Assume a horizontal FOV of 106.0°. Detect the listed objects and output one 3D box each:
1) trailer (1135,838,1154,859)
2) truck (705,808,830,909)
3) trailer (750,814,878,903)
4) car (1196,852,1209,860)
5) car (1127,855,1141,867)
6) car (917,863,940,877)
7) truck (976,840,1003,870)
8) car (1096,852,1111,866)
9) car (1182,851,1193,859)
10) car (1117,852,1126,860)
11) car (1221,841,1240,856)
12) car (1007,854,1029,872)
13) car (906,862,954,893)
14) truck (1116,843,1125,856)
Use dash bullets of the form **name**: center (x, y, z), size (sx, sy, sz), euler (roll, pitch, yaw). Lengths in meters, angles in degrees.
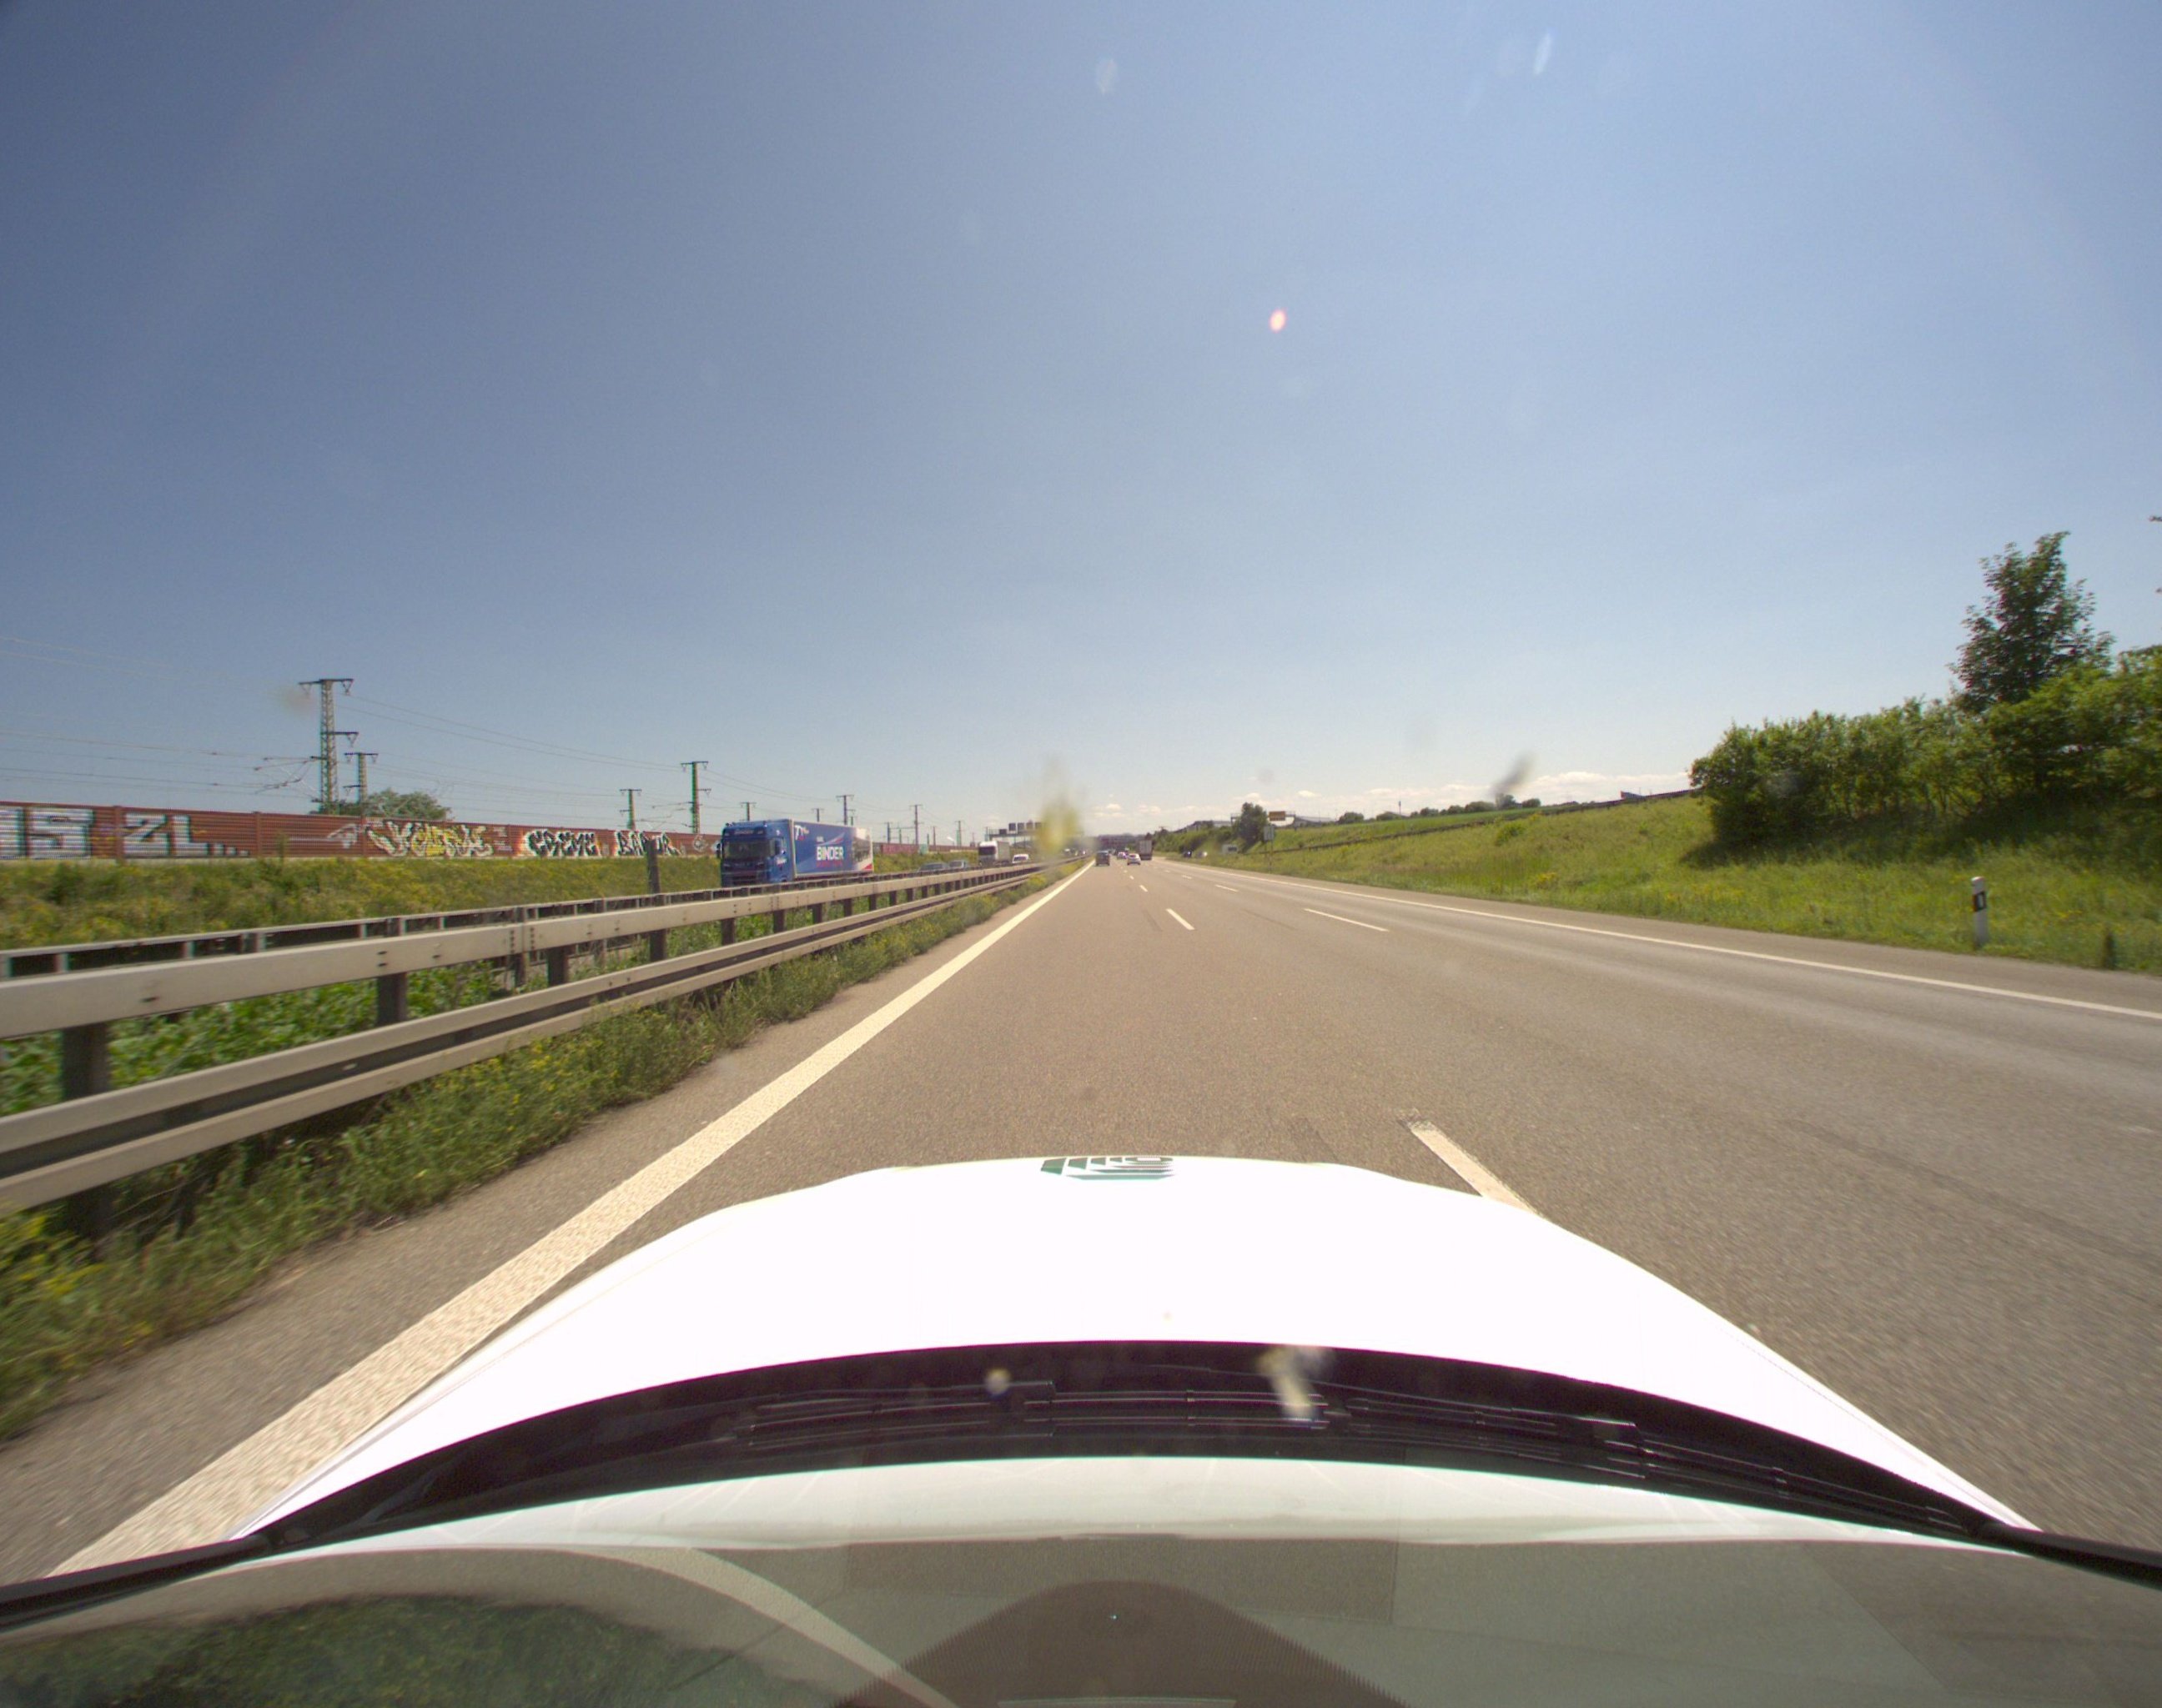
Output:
- **trailer**: center (12.477, -1.065, 160.048), size (3.165, 4.059, 9.444), euler (-2, 0, 2)
- **truck**: center (-15.331, 0.203, 40.563), size (2.877, 4.407, 7.506), euler (-2, 0, 2)
- **trailer**: center (-15.088, 0.209, 47.434), size (2.877, 4.407, 12.097), euler (-2, 0, 2)
- **car**: center (24.329, 0.320, 163.330), size (1.987, 1.508, 3.998), euler (0, -1, -1)
- **car**: center (7.068, 0.878, 108.487), size (1.872, 1.526, 4.005), euler (-1, -1, 5)
- **car**: center (-17.276, 1.777, 92.509), size (1.747, 1.519, 3.838), euler (-1, 0, 2)
- **truck**: center (-12.881, 0.162, 114.930), size (2.719, 4.072, 6.384), euler (-2, 0, 2)
- **car**: center (2.939, 0.647, 104.616), size (1.873, 1.775, 4.002), euler (-2, -1, 2)
- **car**: center (24.008, 0.184, 183.132), size (1.986, 1.596, 4.000), euler (0, -1, 1)
- **car**: center (8.786, 0.445, 175.236), size (1.873, 1.526, 4.003), euler (-1, -1, 3)
- **car**: center (26.169, -0.963, 142.872), size (2.267, 2.528, 5.400), euler (-1, 0, 1)
- **car**: center (-6.703, 0.909, 86.775), size (1.809, 1.785, 4.540), euler (-1, 0, 2)
- **car**: center (-8.328, 1.291, 45.288), size (1.713, 1.634, 4.194), euler (0, -1, 2)
- **truck**: center (10.509, -1.214, 217.703), size (2.346, 3.416, 6.060), euler (-1, 0, 2)
